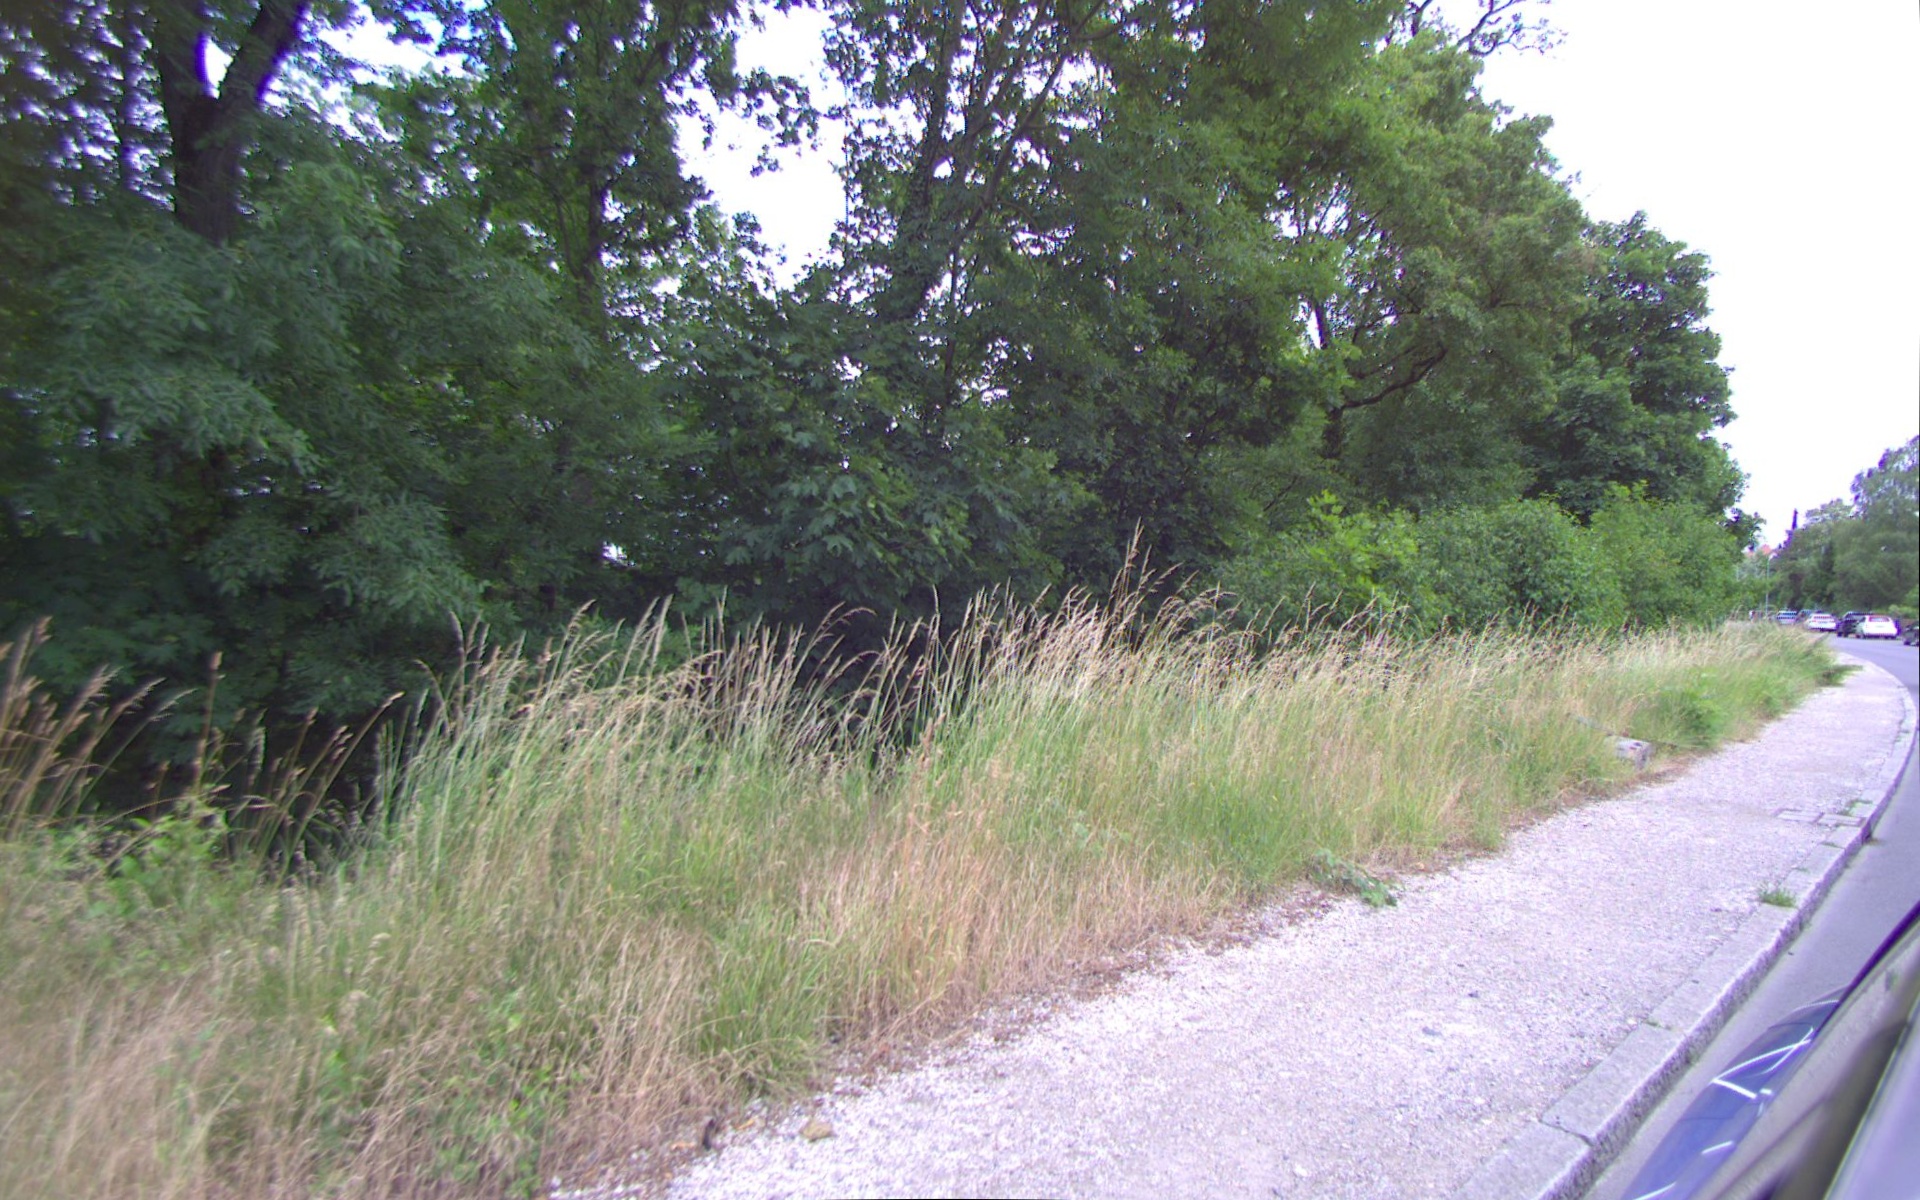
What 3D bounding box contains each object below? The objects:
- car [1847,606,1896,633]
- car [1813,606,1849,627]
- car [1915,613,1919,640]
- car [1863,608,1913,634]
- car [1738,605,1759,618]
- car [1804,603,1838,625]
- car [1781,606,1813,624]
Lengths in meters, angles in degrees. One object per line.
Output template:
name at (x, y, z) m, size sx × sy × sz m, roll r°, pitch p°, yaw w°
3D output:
car at (60.651, 1.241, 67.402) m, size 1.785 × 1.685 × 4.338 m, roll 1°, pitch 0°, yaw 33°
car at (69.022, 1.280, 80.225) m, size 1.702 × 1.530 × 4.496 m, roll 1°, pitch 0°, yaw 35°
car at (50.170, 1.388, 51.432) m, size 1.700 × 1.434 × 4.099 m, roll 1°, pitch 0°, yaw 33°
car at (58.230, 1.311, 63.544) m, size 1.700 × 1.530 × 3.898 m, roll 1°, pitch 0°, yaw 33°
car at (107.477, 1.537, 137.986) m, size 1.911 × 1.701 × 4.142 m, roll 1°, pitch 0°, yaw 34°
car at (72.292, 1.155, 85.033) m, size 1.701 × 1.822 × 4.244 m, roll 1°, pitch 0°, yaw 34°
car at (79.174, 1.435, 95.733) m, size 1.789 × 1.627 × 4.673 m, roll 1°, pitch 0°, yaw 33°
